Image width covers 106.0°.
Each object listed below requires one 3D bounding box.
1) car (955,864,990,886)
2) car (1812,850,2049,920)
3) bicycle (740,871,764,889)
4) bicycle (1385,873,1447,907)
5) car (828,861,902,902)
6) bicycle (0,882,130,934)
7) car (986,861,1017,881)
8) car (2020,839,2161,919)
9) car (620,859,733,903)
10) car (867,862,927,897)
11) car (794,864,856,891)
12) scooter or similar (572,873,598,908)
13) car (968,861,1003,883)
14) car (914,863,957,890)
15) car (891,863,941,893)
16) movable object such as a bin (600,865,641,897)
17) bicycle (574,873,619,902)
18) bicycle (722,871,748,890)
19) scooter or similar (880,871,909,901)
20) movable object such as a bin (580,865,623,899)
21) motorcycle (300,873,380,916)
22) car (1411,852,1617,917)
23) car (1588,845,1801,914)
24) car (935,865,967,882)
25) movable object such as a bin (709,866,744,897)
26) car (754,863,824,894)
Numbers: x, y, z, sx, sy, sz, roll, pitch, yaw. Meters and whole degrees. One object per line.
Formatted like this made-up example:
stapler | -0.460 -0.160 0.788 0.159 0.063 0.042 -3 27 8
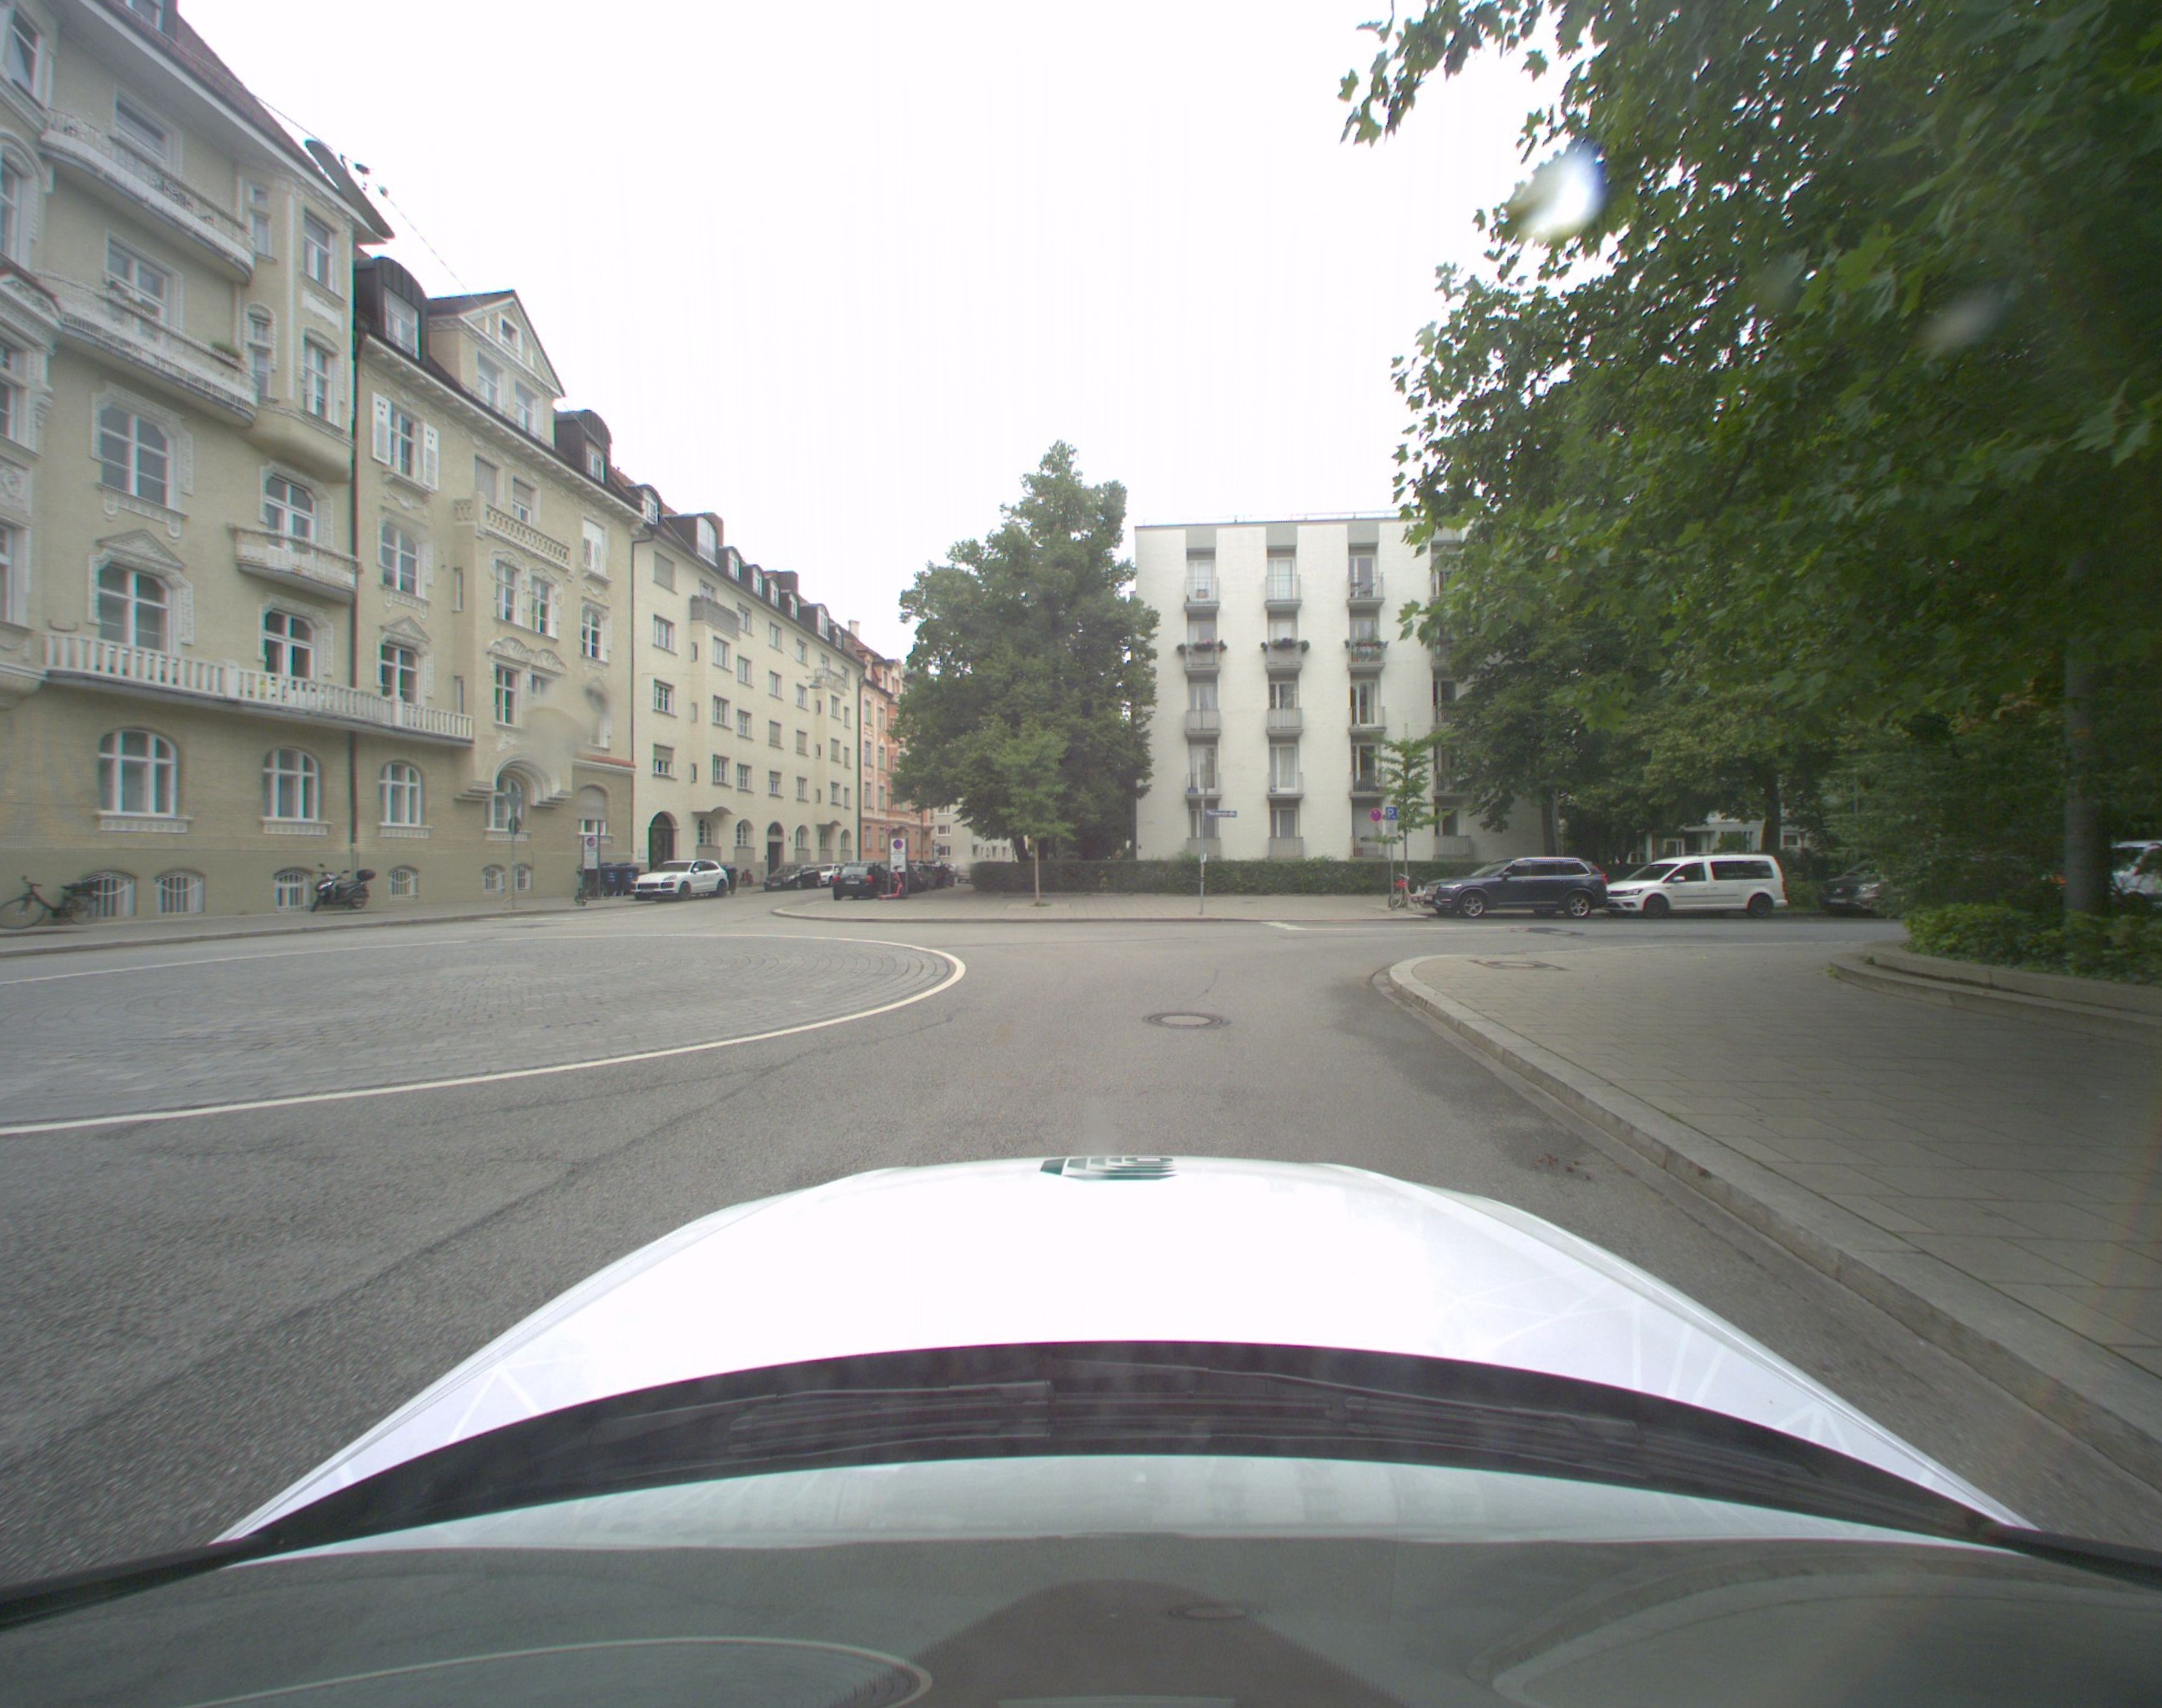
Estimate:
car | -7.956 1.514 60.041 1.828 1.505 4.117 -2 -1 2
car | 24.655 0.883 23.744 5.181 1.933 1.890 0 -2 -4
bicycle | -19.779 1.546 48.985 0.560 1.049 1.832 0 -1 4
bicycle | 10.733 1.133 26.086 1.822 1.049 0.491 0 -1 -6
car | -8.729 1.081 33.286 1.813 1.505 4.422 -2 -1 0
bicycle | -22.586 1.178 18.136 0.560 1.049 1.832 0 -1 4
car | -6.836 1.471 70.280 1.825 1.634 3.828 -2 -1 8
car | 31.591 0.738 24.209 5.212 2.273 1.951 0 -2 -2
car | -16.788 1.071 34.130 1.966 1.701 4.846 0 -1 4
car | -8.635 1.160 38.550 1.787 1.505 4.234 -2 -1 0
car | -15.508 1.396 49.546 1.965 1.581 4.416 0 -1 6
scooter or similar | -17.641 1.294 28.962 1.200 1.193 0.470 -1 -1 44
car | -7.540 1.429 64.644 1.826 1.634 4.122 -2 -1 6
car | -8.675 1.330 48.937 1.787 1.505 4.114 -2 -1 0
car | -8.680 1.234 43.142 1.787 1.505 4.114 -2 -1 0
movable object such as a bin | -20.364 1.182 36.052 1.085 1.425 1.176 0 -1 7
bicycle | -18.959 1.297 31.926 0.560 1.049 1.832 0 -1 4
bicycle | -19.939 1.509 46.969 0.560 1.049 1.832 0 -1 4
scooter or similar | -6.962 1.178 30.389 1.003 1.088 0.388 0 -1 -23
movable object such as a bin | -20.511 1.184 34.861 1.085 1.425 1.176 0 -1 7
motorcycle | -21.892 1.174 24.096 0.595 1.176 1.832 0 -1 4
car | 12.376 0.860 23.521 4.880 1.792 2.000 0 -2 0
car | 17.704 0.741 23.661 4.818 1.919 1.835 0 -2 -1
car | -12.712 1.890 79.722 1.965 1.581 4.416 0 -1 7
movable object such as a bin | -16.833 1.287 38.690 1.085 1.425 1.176 0 -1 7
car | -15.912 1.297 44.672 1.968 1.616 4.714 0 -1 2
